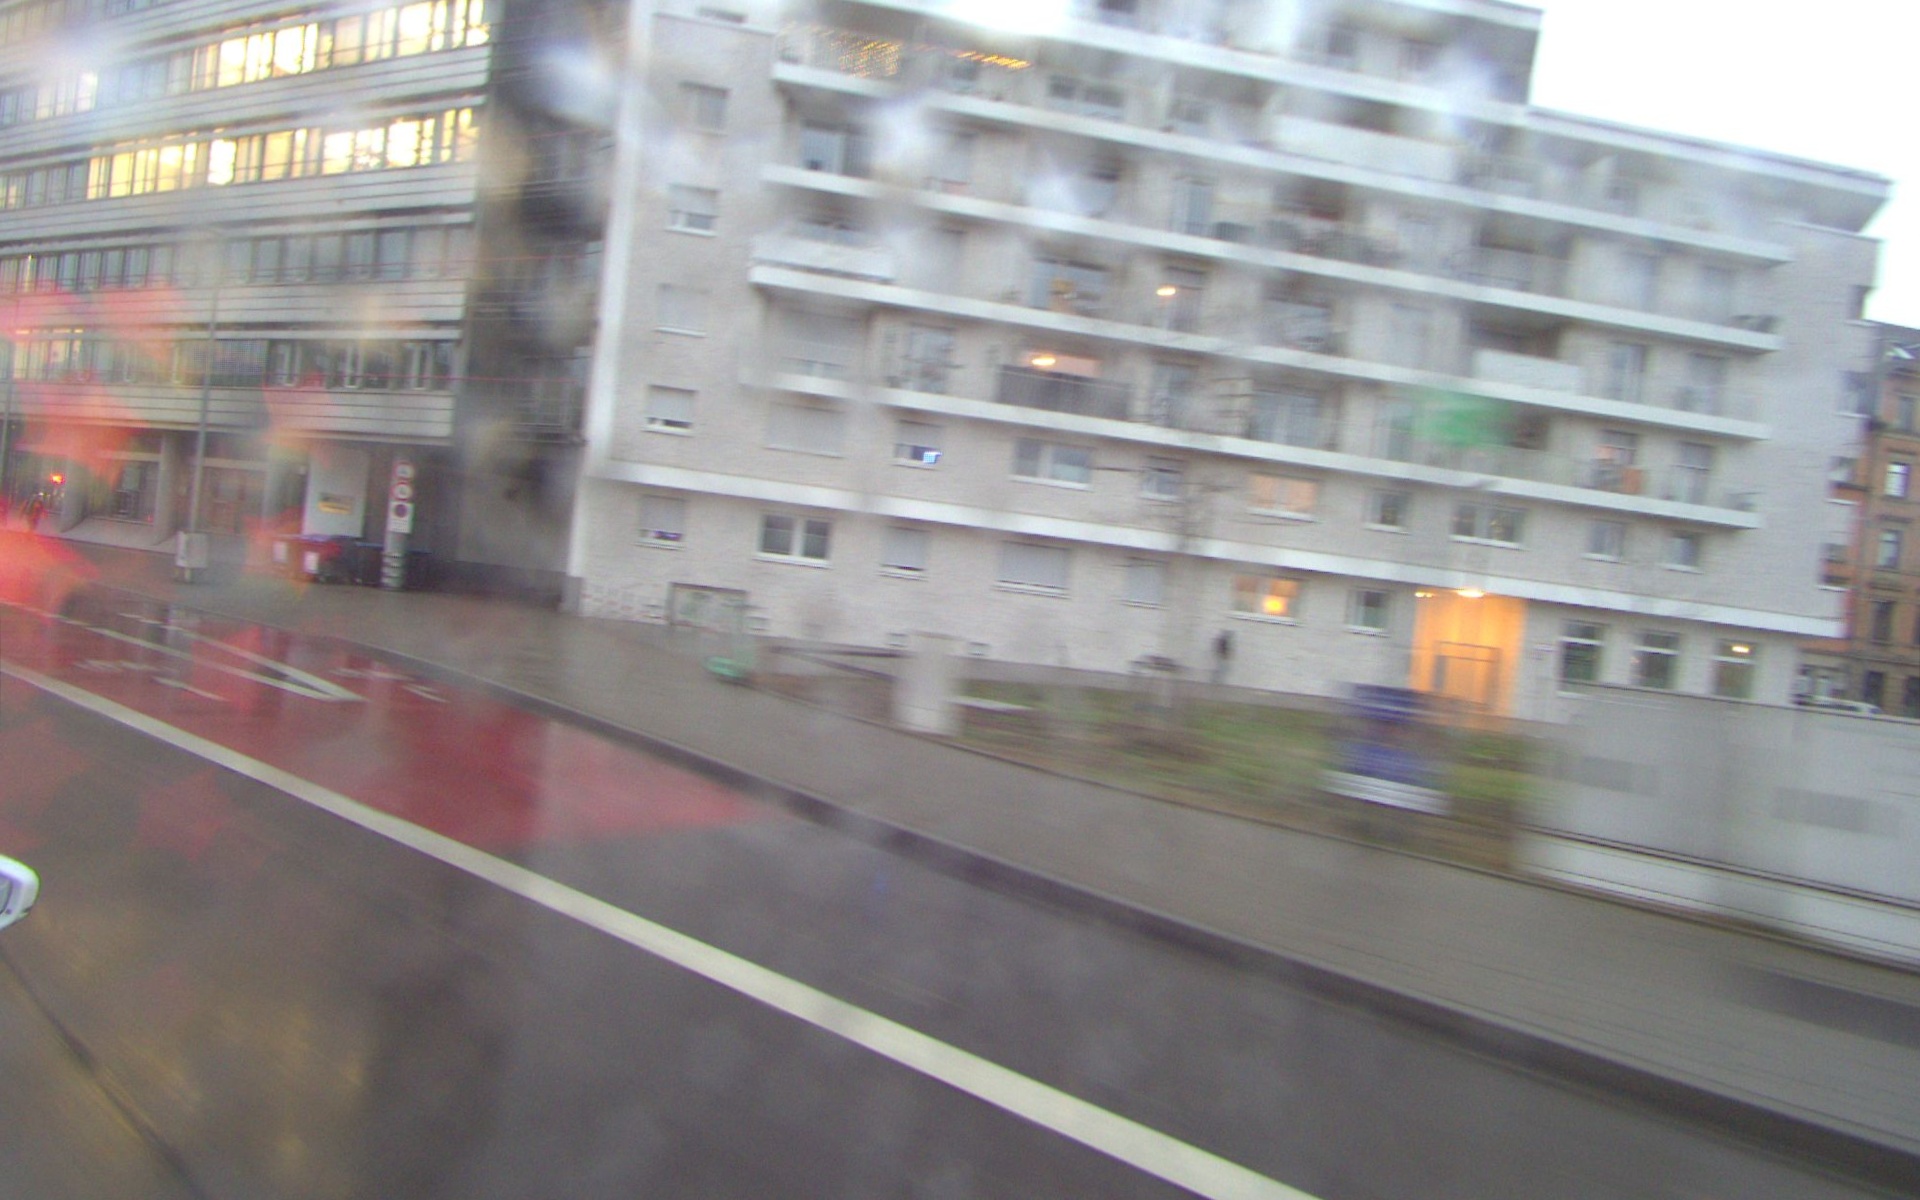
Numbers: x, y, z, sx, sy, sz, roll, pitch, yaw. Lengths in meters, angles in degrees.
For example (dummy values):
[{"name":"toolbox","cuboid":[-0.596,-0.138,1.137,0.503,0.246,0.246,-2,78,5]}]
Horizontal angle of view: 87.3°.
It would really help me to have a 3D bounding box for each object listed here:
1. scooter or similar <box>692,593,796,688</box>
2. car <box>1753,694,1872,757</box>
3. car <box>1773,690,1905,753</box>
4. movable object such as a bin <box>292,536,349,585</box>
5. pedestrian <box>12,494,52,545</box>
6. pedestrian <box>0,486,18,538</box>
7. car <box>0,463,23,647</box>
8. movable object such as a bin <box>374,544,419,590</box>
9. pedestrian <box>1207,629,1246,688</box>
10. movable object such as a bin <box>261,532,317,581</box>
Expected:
[{"name":"scooter or similar","cuboid":[-3.191,0.578,14.796,1.537,1.242,0.666,5,0,44]},{"name":"car","cuboid":[34.194,4.974,40.510,1.907,1.966,4.598,7,0,19]},{"name":"car","cuboid":[40.560,5.593,46.487,4.582,2.216,1.996,7,0,-10]},{"name":"movable object such as a bin","cuboid":[-19.062,-1.168,29.995,1.147,1.311,0.846,6,2,21]},{"name":"pedestrian","cuboid":[-32.521,-2.830,35.258,0.887,1.645,0.727,6,0,32]},{"name":"pedestrian","cuboid":[-33.162,-3.066,34.583,1.051,1.707,0.793,6,0,32]},{"name":"car","cuboid":[-9.851,-0.450,8.707,3.938,1.800,1.675,6,-1,36]},{"name":"movable object such as a bin","cuboid":[-17.455,-1.016,31.173,0.946,1.322,0.730,6,2,21]},{"name":"pedestrian","cuboid":[7.932,1.730,29.967,0.626,1.653,0.716,6,1,-32]},{"name":"movable object such as a bin","cuboid":[-20.287,-1.310,30.437,1.147,1.311,0.846,6,2,21]}]
